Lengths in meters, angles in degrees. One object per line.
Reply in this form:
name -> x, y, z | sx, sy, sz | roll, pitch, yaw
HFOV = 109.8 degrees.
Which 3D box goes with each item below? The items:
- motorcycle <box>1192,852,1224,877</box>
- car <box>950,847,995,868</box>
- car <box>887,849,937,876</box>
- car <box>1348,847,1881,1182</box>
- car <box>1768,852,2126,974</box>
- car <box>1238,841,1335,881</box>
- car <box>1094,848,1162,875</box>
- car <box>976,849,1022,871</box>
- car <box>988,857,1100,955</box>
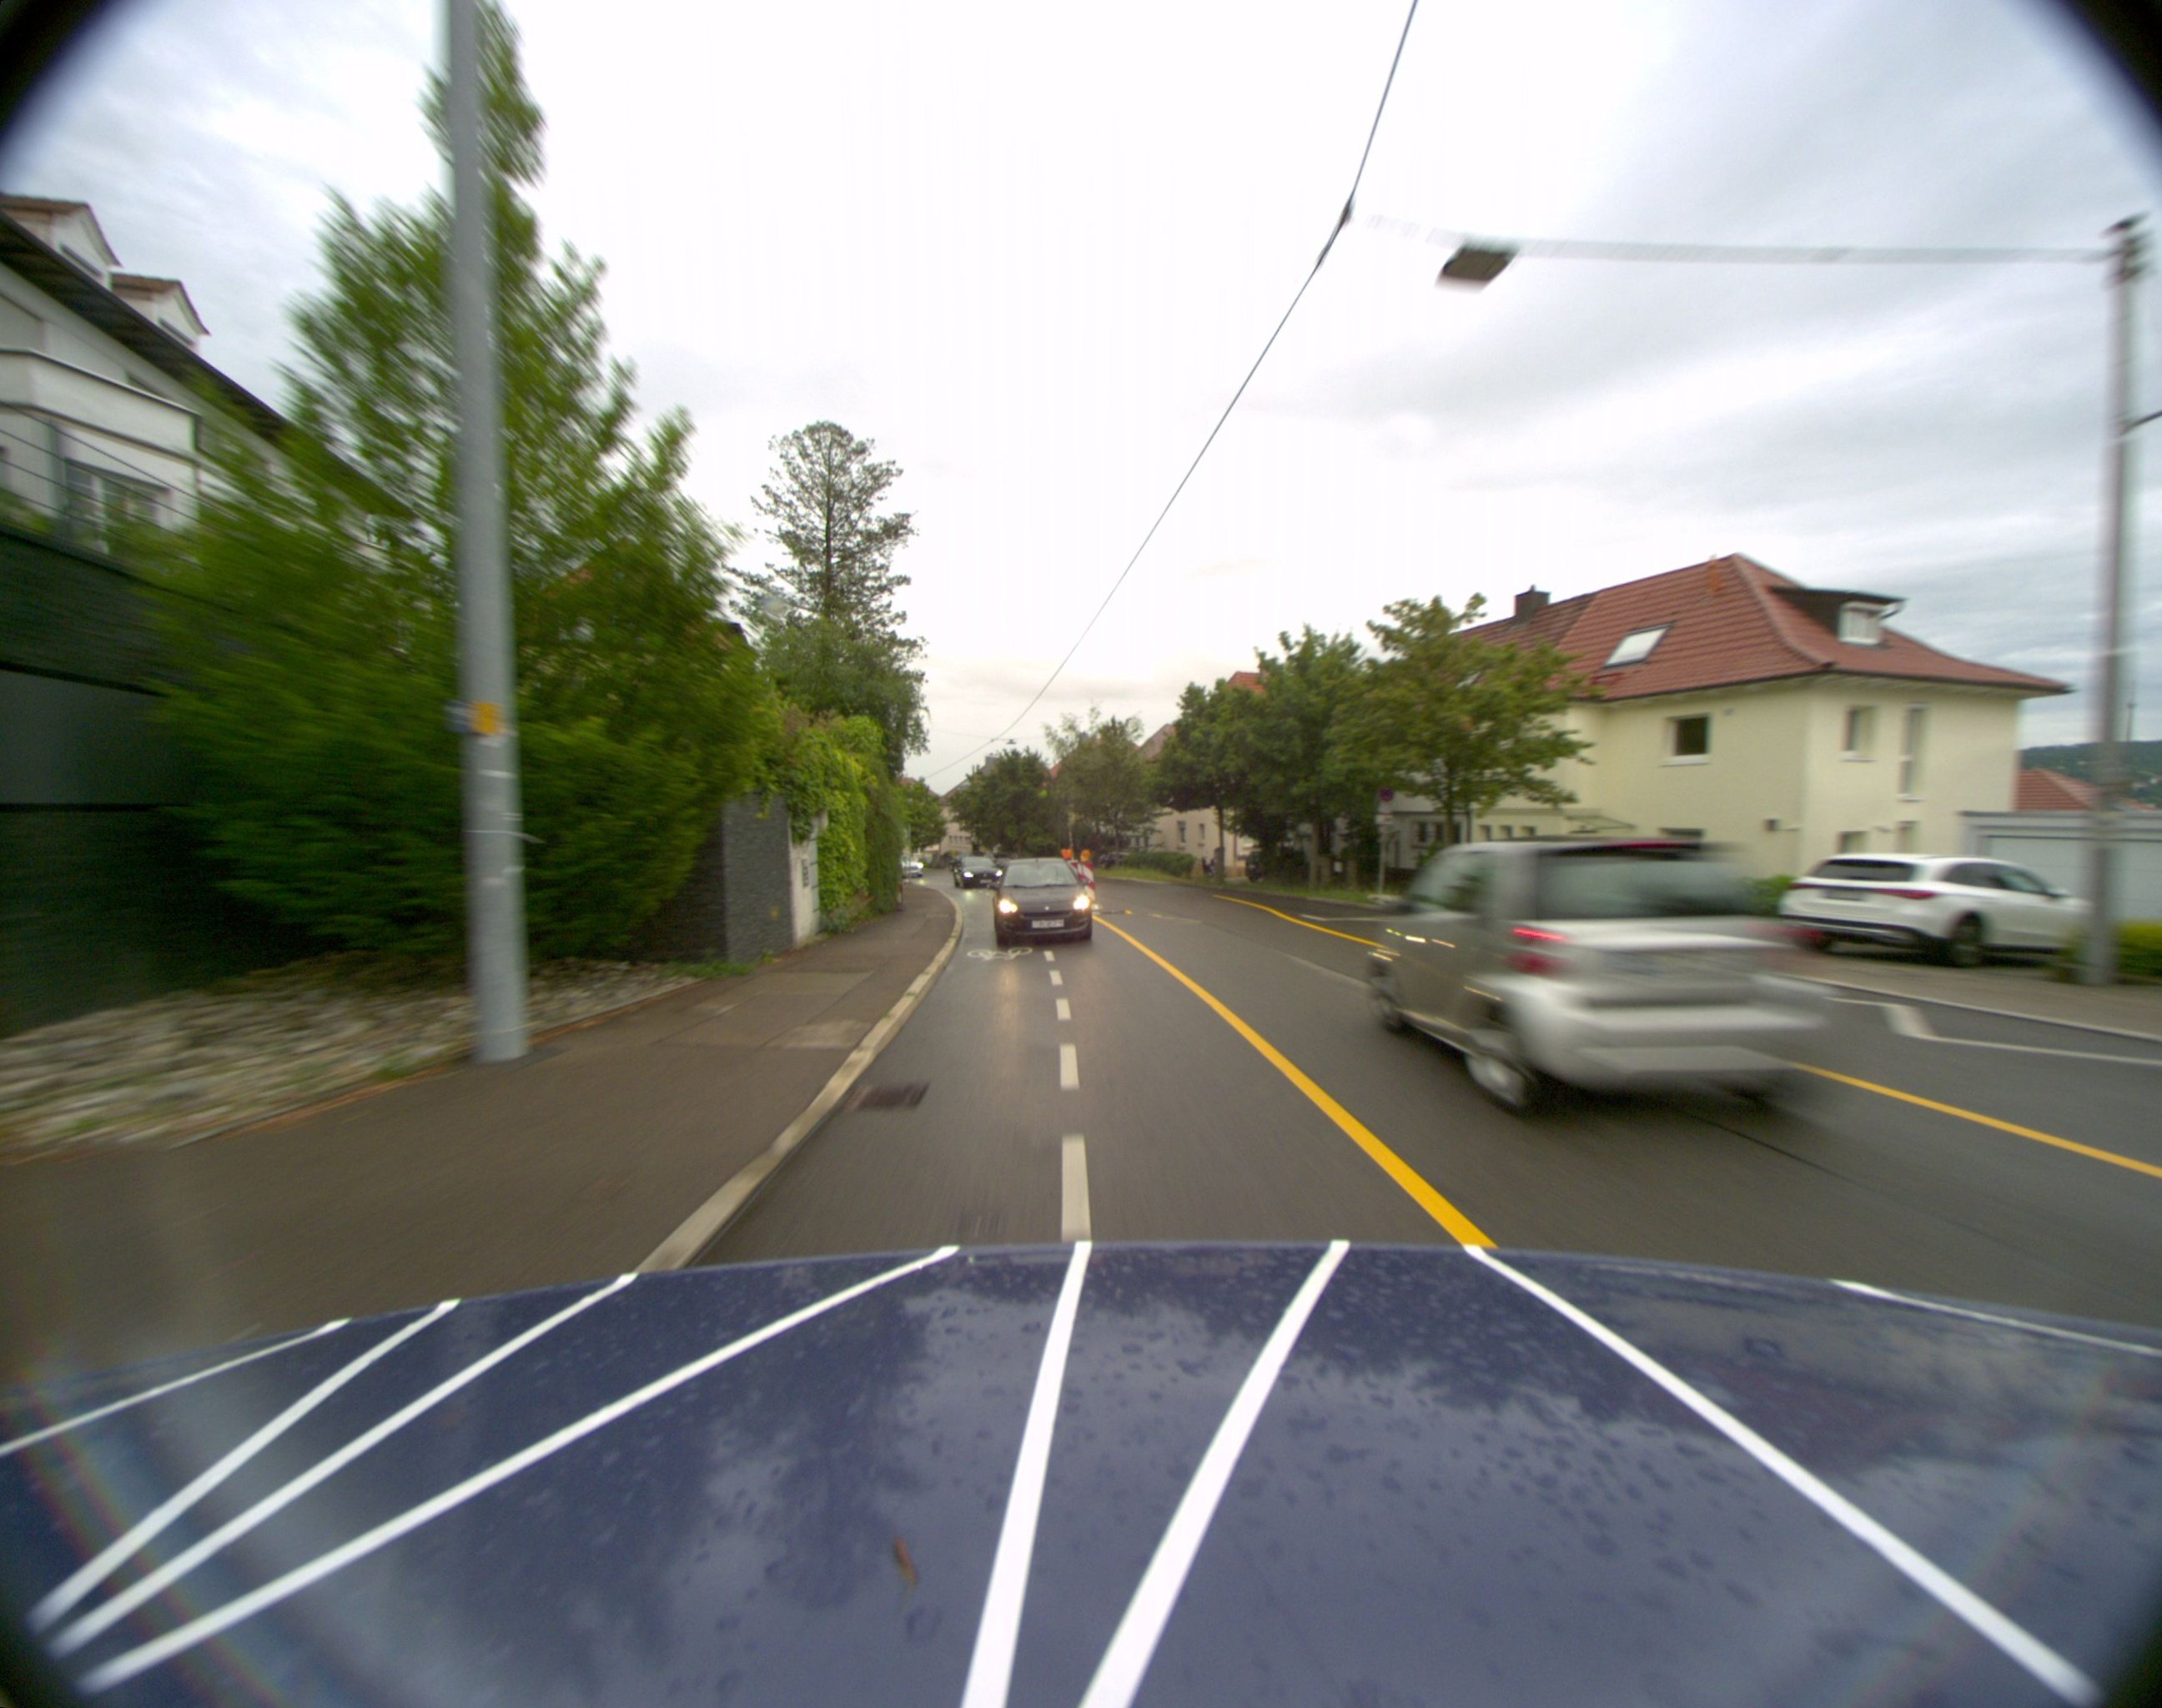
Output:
motorcycle -> 6.874, 0.553, 41.160 | 0.735, 1.241, 1.965 | -4, 1, -21
car -> -8.430, 0.246, 58.927 | 1.740, 1.476, 4.519 | -5, 2, -31
car -> -12.072, 0.562, 54.044 | 2.022, 1.728, 4.587 | -5, 3, -31
car -> 3.026, 0.744, 5.030 | 1.459, 1.517, 2.922 | -2, 1, 0
car -> 13.282, 0.856, 11.736 | 4.213, 1.595, 1.947 | 2, 1, -16
car -> 9.744, 0.300, 36.121 | 3.955, 1.534, 1.861 | -5, 2, -17
car -> 3.260, 0.542, 53.121 | 4.256, 1.496, 1.911 | 5, -1, -16
car -> -5.922, 0.386, 54.515 | 1.714, 1.375, 4.520 | -4, 2, -26
car -> -0.835, 0.848, 14.545 | 1.747, 1.434, 4.356 | -3, 1, -6
